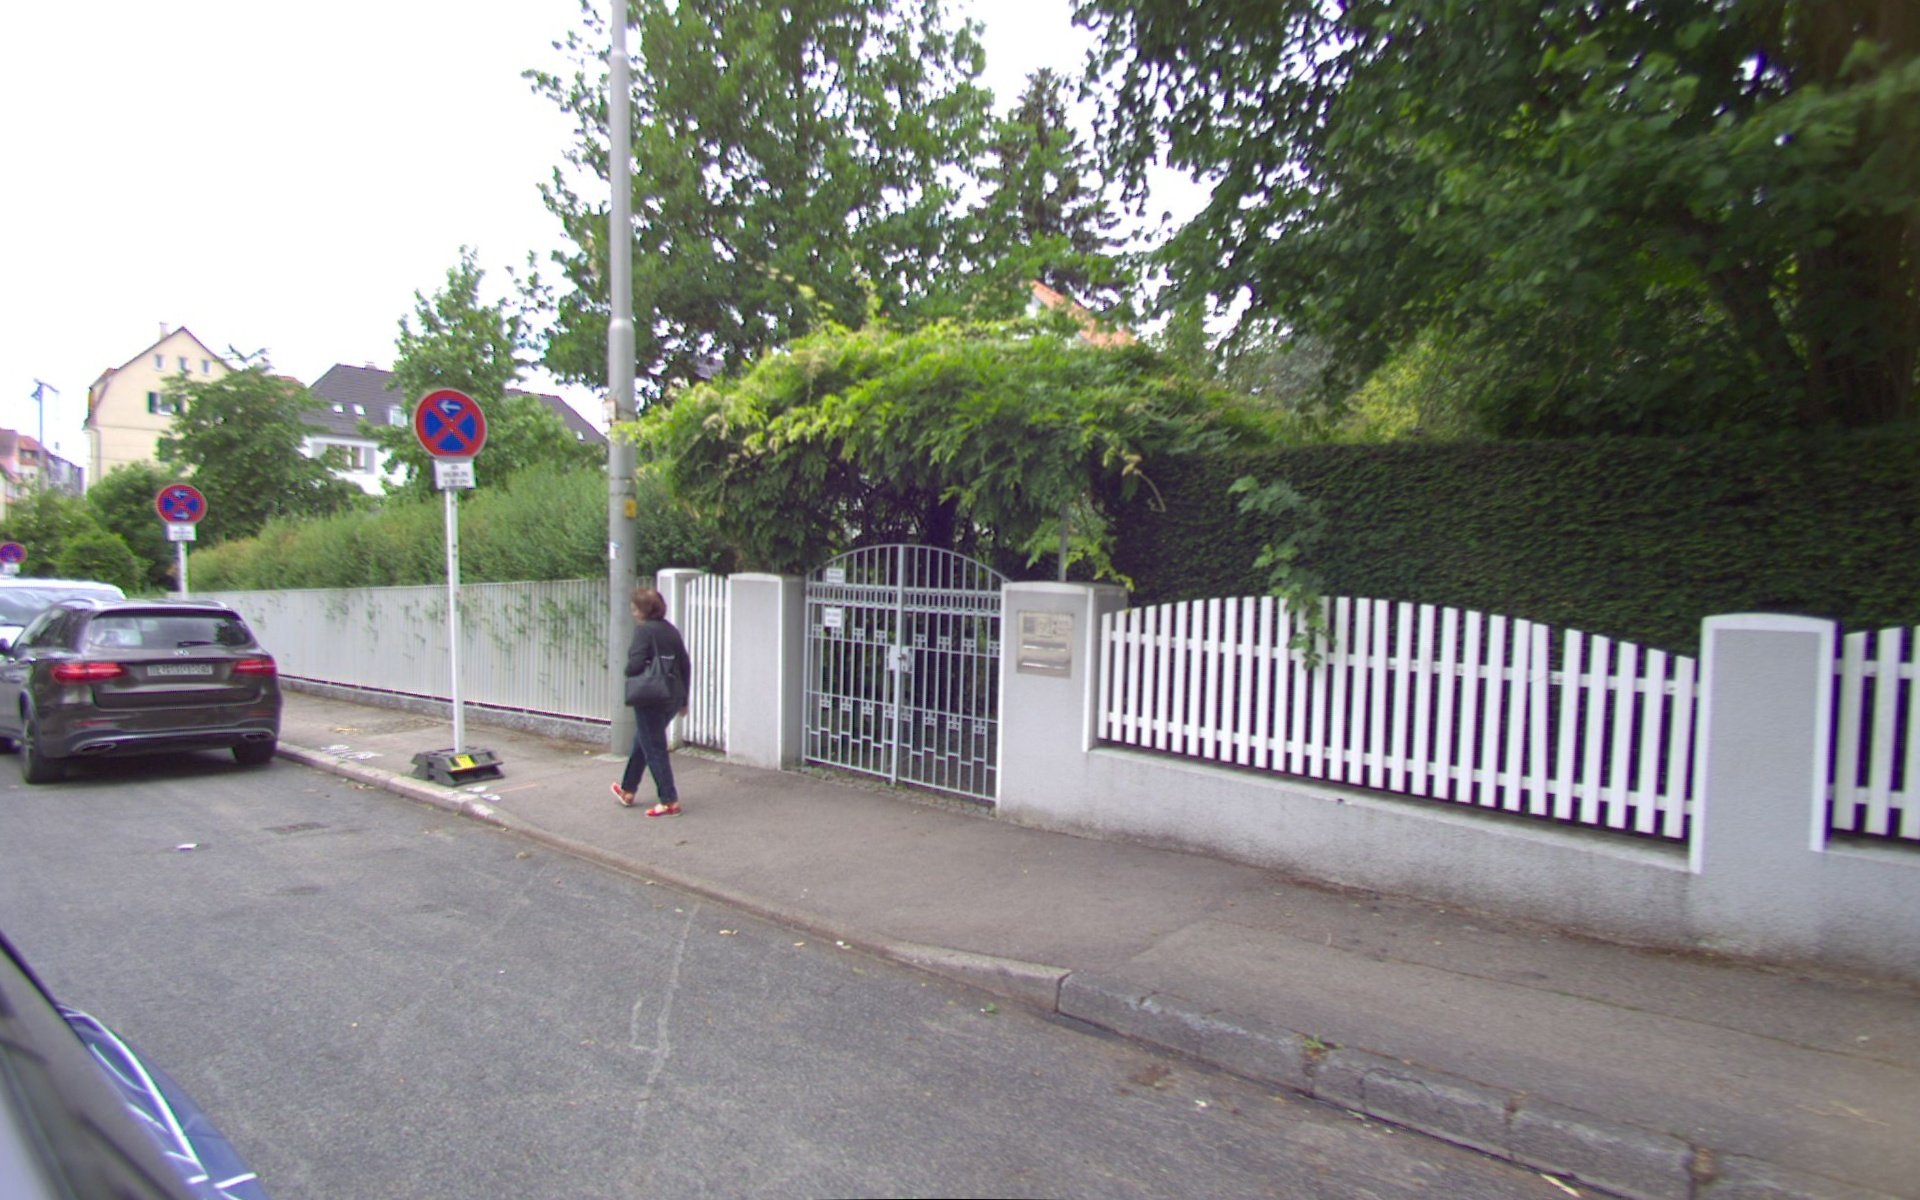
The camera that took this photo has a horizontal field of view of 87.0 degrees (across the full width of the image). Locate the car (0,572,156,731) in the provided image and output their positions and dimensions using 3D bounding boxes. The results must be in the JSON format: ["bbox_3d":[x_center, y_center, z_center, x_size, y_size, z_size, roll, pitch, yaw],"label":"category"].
[{"bbox_3d":[-12.963,0.640,14.187,4.618,1.928,1.835,0,-2,42],"label":"car"}]

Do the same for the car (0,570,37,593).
[{"bbox_3d":[-66.401,-1.300,71.344,1.617,1.409,3.712,1,3,-38],"label":"car"}]

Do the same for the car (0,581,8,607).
[{"bbox_3d":[-60.958,-0.383,63.157,1.779,1.491,4.339,1,3,-38],"label":"car"}]

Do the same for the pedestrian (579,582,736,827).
[{"bbox_3d":[-2.110,0.680,7.056,0.797,1.557,0.602,0,5,40],"label":"pedestrian"}]

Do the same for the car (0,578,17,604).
[{"bbox_3d":[-64.404,-0.621,67.621,1.617,1.439,4.133,2,3,-38],"label":"car"}]

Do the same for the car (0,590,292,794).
[{"bbox_3d":[-8.505,0.767,10.178,4.338,1.635,1.773,-1,-1,39],"label":"car"}]
